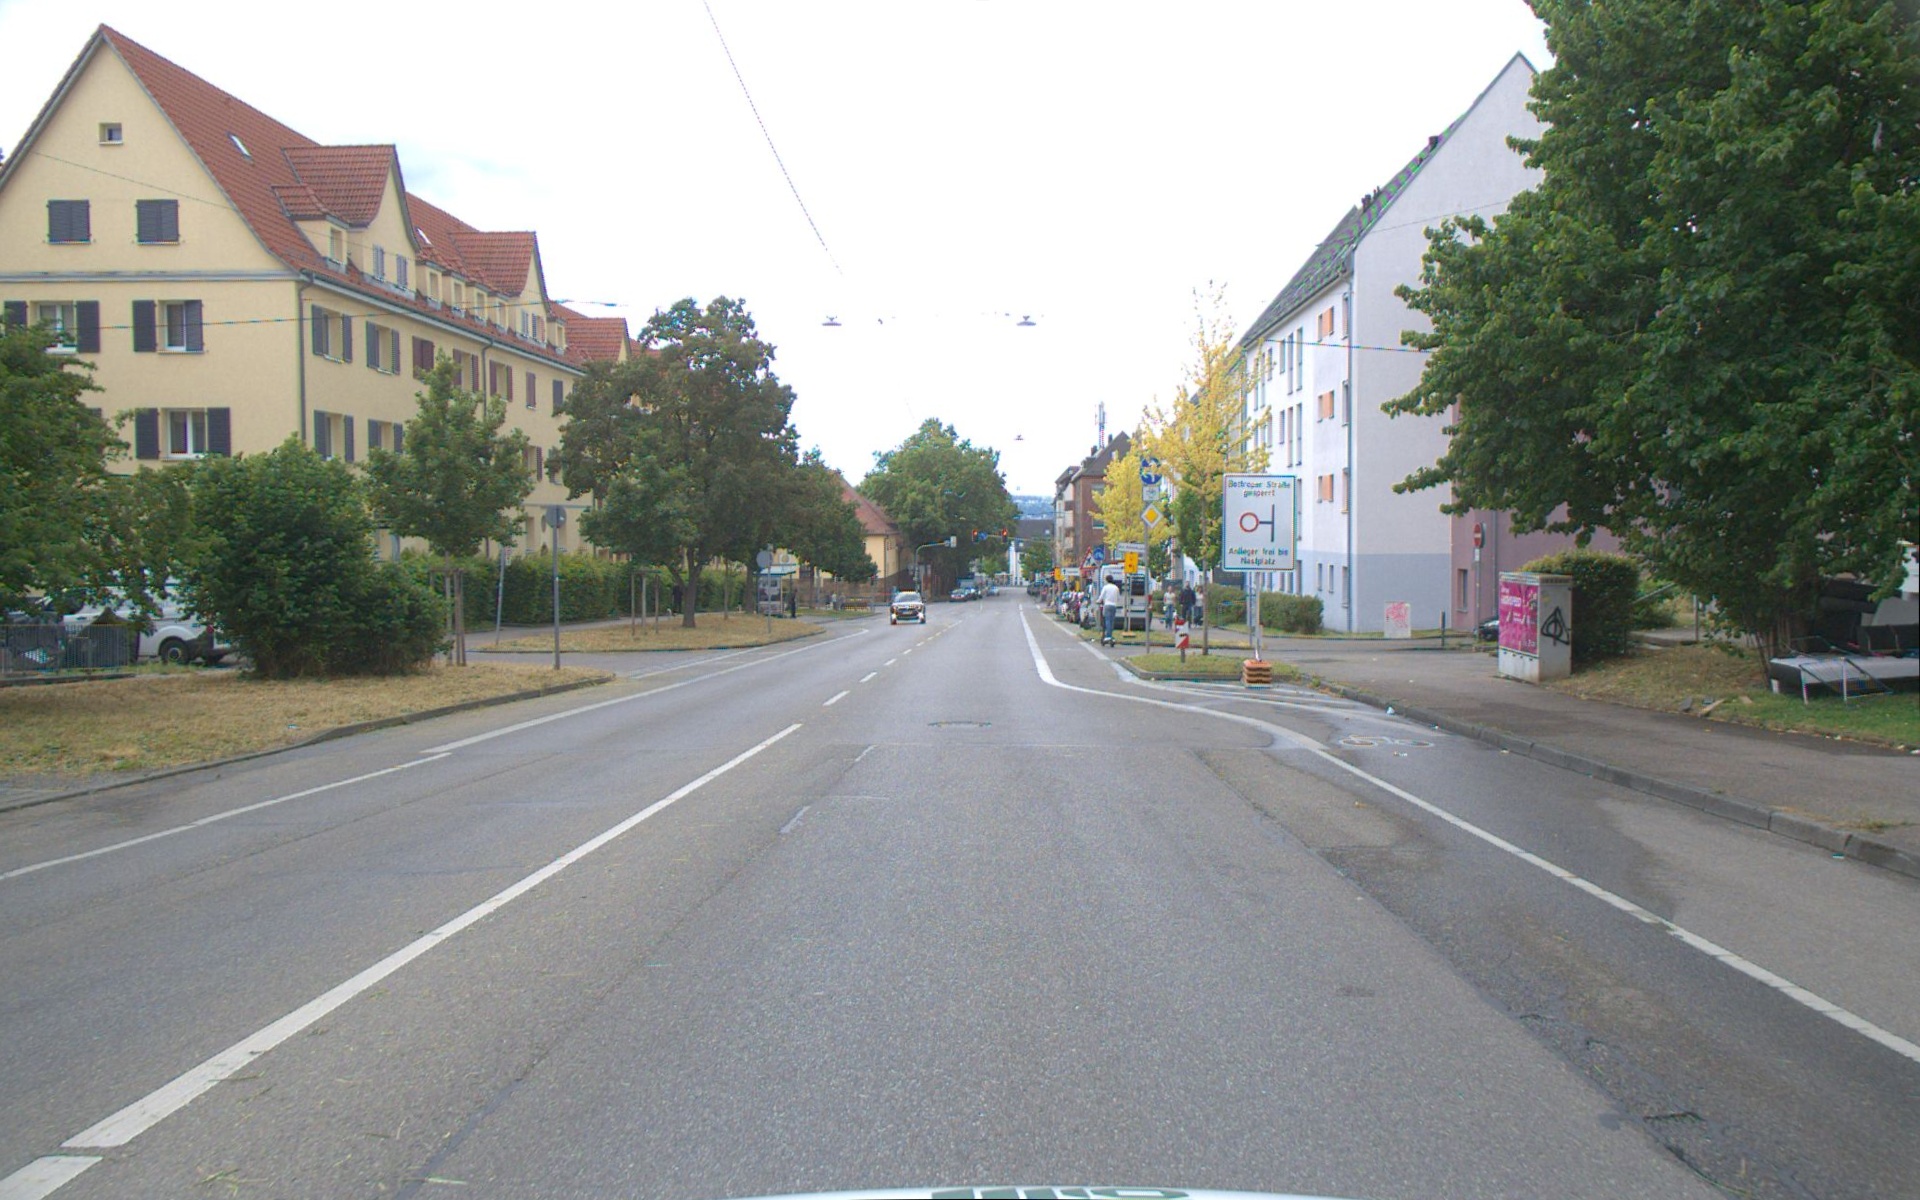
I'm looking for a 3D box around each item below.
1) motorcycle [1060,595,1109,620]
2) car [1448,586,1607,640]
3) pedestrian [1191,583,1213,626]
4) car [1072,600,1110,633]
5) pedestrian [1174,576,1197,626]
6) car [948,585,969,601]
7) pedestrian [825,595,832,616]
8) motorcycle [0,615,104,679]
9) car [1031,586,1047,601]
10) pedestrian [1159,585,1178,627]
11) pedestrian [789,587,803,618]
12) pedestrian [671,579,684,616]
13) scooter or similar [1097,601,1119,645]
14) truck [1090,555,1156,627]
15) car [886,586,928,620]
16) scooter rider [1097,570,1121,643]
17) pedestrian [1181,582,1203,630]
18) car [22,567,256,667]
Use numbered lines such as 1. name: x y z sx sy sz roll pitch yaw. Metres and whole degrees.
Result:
1. motorcycle: 6.609 0.390 87.813 2.545 1.301 0.753 0 0 -2
2. car: 15.920 0.341 46.560 3.903 1.481 1.761 0 1 3
3. pedestrian: 9.478 0.160 64.787 0.644 1.633 0.574 -4 1 -8
4. car: 6.685 0.817 84.512 1.646 1.571 4.339 0 1 0
5. pedestrian: 8.787 0.030 64.417 0.658 1.920 0.764 -1 -1 -10
6. car: -0.160 -0.739 171.667 1.719 1.498 4.309 -1 1 5
7. pedestrian: -11.472 0.483 144.538 0.552 1.808 0.717 0 0 1
8. motorcycle: -19.865 1.003 36.120 2.553 1.301 1.013 1 1 35
9. car: 11.012 -0.893 230.146 1.953 1.969 4.918 0 1 -1
10. pedestrian: 8.240 0.244 65.495 0.566 1.673 0.560 -1 -1 -12
11. pedestrian: -9.341 0.155 94.206 0.585 1.757 0.861 1 0 4
12. pedestrian: -13.913 -0.112 81.521 0.503 1.811 0.753 0 0 1
13. scooter or similar: 4.221 0.644 47.102 0.480 1.183 2.075 0 1 1
14. truck: 6.110 -0.368 62.726 2.010 2.610 5.690 0 1 1
15. car: -2.686 0.137 84.831 1.860 1.648 4.363 0 1 2
16. scooter rider: 4.252 0.179 47.213 0.612 2.049 0.758 0 0 1
17. pedestrian: 9.260 0.238 66.051 0.659 1.920 0.618 -1 -1 -15
18. car: -19.699 0.397 39.830 4.619 2.293 1.995 -1 0 2
